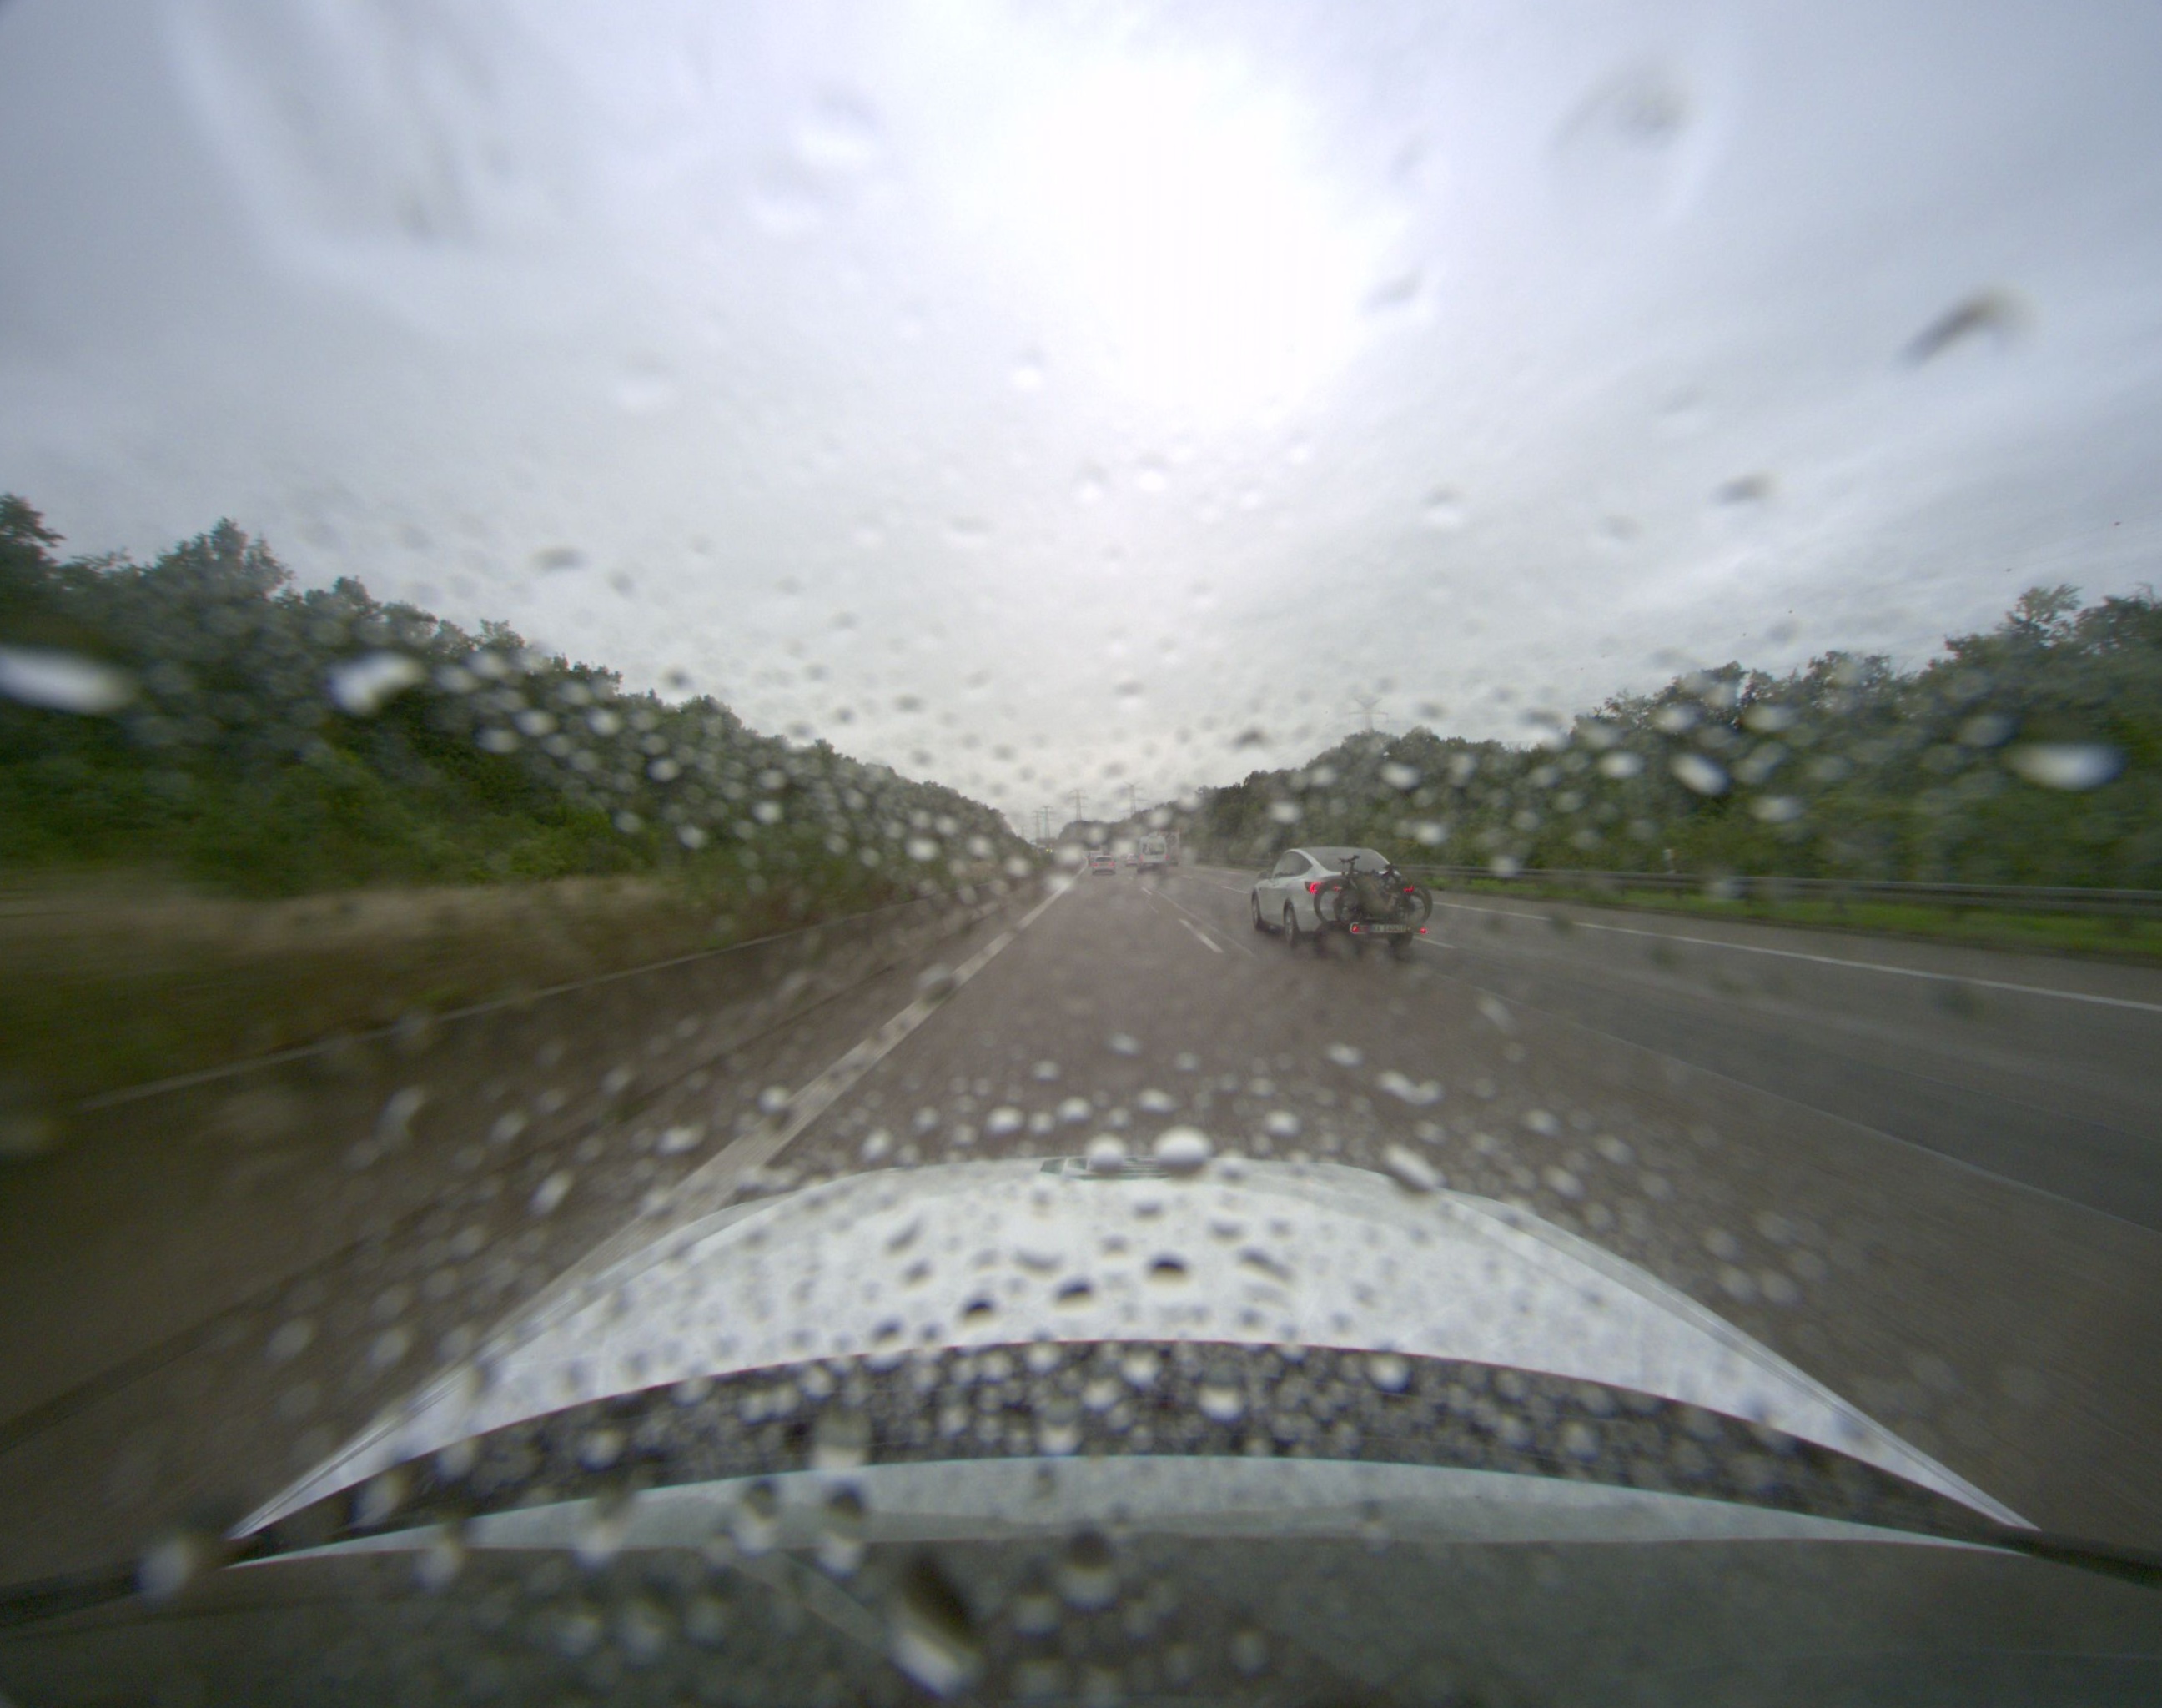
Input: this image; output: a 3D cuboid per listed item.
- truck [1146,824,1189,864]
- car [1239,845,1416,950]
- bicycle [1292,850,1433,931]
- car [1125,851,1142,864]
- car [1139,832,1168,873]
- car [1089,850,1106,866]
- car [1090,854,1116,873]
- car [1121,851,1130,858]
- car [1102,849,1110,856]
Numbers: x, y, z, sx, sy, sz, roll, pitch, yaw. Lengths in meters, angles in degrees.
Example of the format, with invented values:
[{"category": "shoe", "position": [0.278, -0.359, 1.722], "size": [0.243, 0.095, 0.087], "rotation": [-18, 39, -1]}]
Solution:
[{"category": "truck", "position": [10.264, -1.108, 98.387], "size": [3.592, 4.332, 13.196], "rotation": [-2, 0, 0]}, {"category": "car", "position": [4.230, 0.658, 14.860], "size": [1.853, 1.568, 4.966], "rotation": [-1, 0, 2]}, {"category": "bicycle", "position": [4.074, 0.523, 11.918], "size": [1.746, 1.090, 0.914], "rotation": [-1, -1, 3]}, {"category": "car", "position": [5.886, 0.367, 91.936], "size": [1.849, 1.422, 4.004], "rotation": [-1, 0, 3]}, {"category": "car", "position": [5.398, -0.090, 61.128], "size": [1.985, 2.864, 4.004], "rotation": [-2, 0, 3]}, {"category": "car", "position": [1.958, 0.478, 93.965], "size": [1.839, 1.772, 4.002], "rotation": [-2, 0, 2]}, {"category": "car", "position": [1.667, 0.707, 61.291], "size": [1.859, 1.288, 4.002], "rotation": [-2, 0, 2]}, {"category": "car", "position": [10.359, 0.191, 190.888], "size": [1.986, 1.486, 4.002], "rotation": [-4, 0, 2]}, {"category": "car", "position": [6.572, -0.393, 216.942], "size": [1.986, 1.574, 4.002], "rotation": [-3, -1, 2]}]
